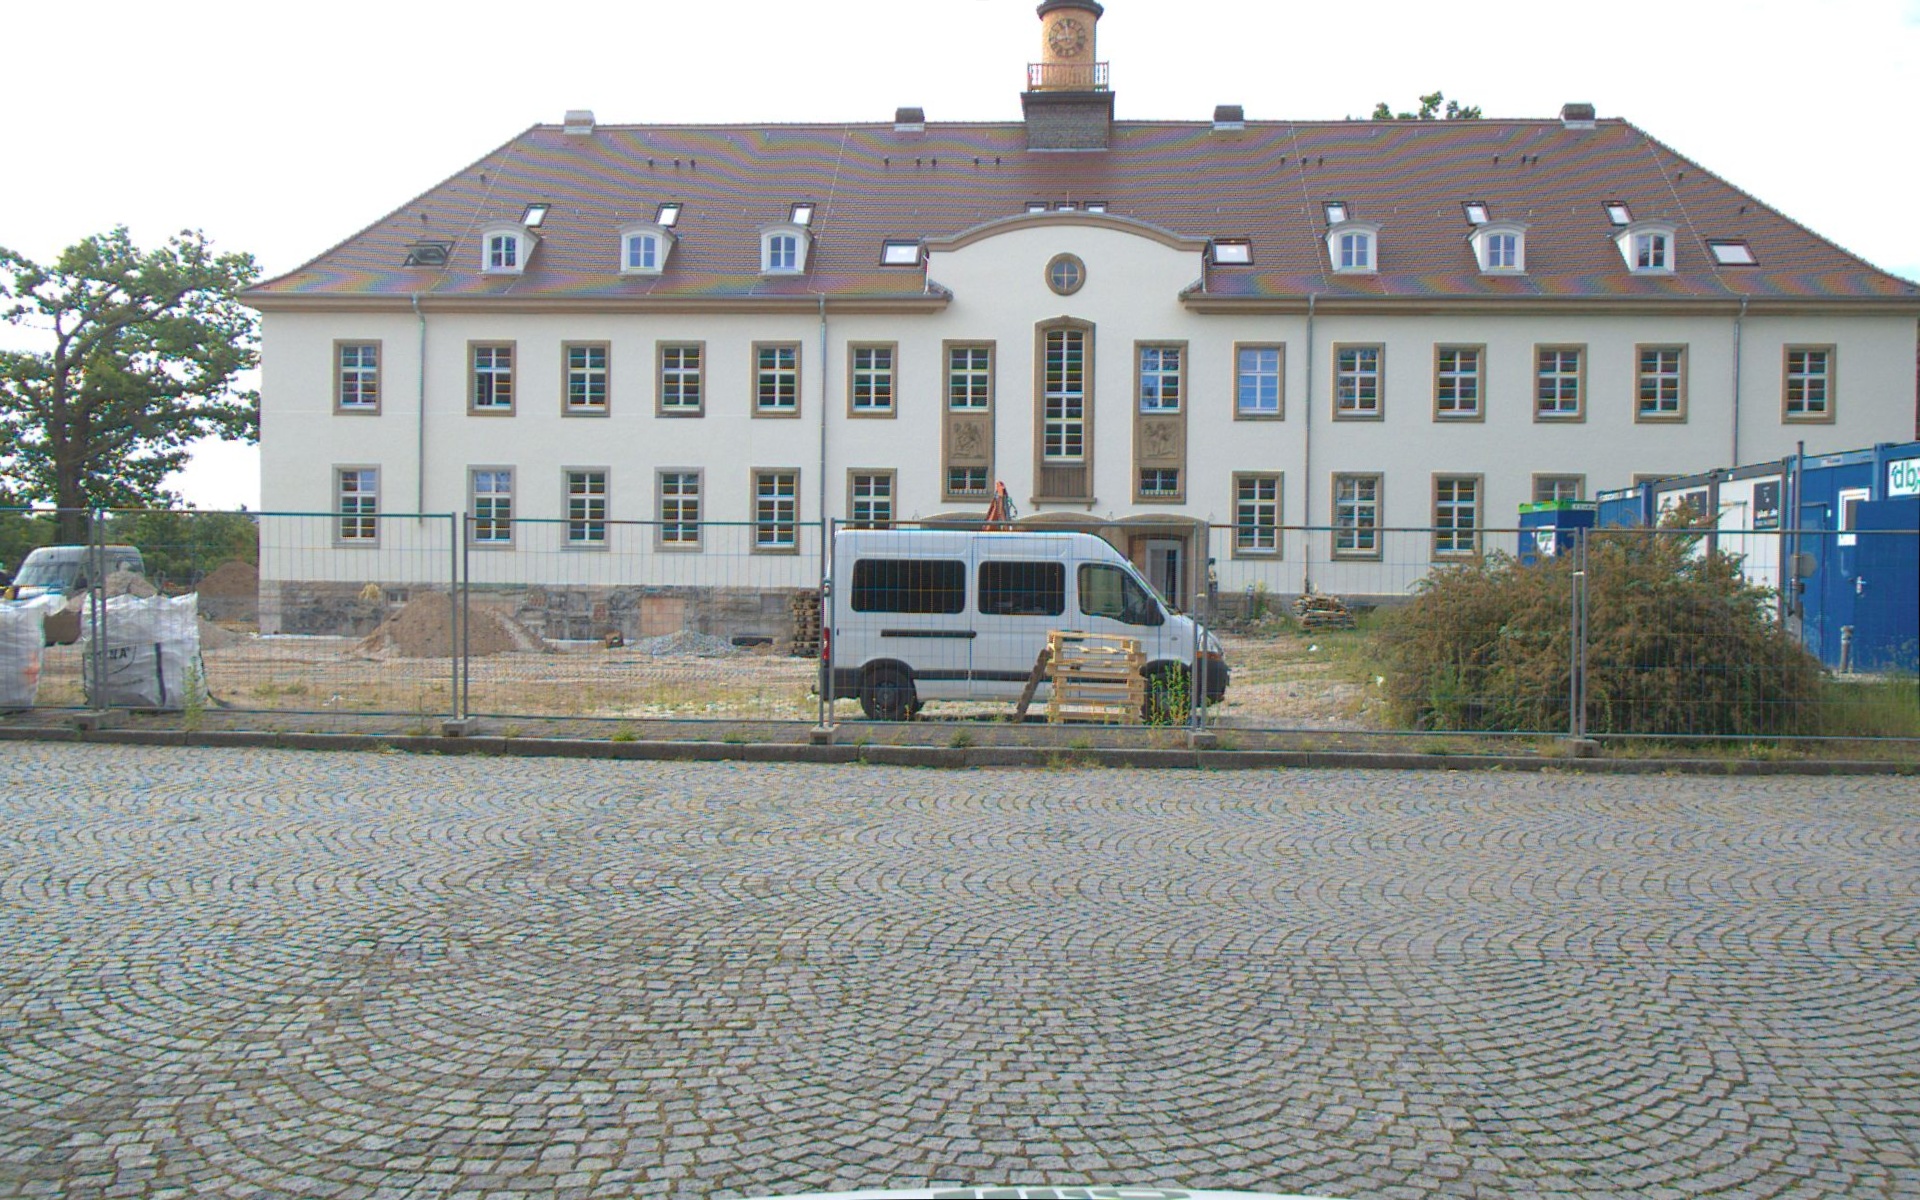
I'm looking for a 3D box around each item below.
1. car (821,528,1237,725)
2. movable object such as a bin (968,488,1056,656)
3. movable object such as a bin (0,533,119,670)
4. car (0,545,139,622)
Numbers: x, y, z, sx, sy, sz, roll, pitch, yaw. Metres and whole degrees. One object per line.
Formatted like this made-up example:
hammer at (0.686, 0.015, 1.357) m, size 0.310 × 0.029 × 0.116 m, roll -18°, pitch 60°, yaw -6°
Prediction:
car at (0.918, 0.311, 21.545) m, size 5.151 × 2.385 × 1.911 m, roll 1°, pitch 0°, yaw 5°
movable object such as a bin at (1.215, -0.665, 40.686) m, size 1.953 × 3.837 × 5.317 m, roll 1°, pitch 0°, yaw 0°
movable object such as a bin at (-19.677, 0.008, 32.566) m, size 5.218 × 2.601 × 2.001 m, roll 0°, pitch 0°, yaw 2°
car at (-26.832, -0.495, 49.716) m, size 2.026 × 2.188 × 4.896 m, roll 0°, pitch 0°, yaw -3°
